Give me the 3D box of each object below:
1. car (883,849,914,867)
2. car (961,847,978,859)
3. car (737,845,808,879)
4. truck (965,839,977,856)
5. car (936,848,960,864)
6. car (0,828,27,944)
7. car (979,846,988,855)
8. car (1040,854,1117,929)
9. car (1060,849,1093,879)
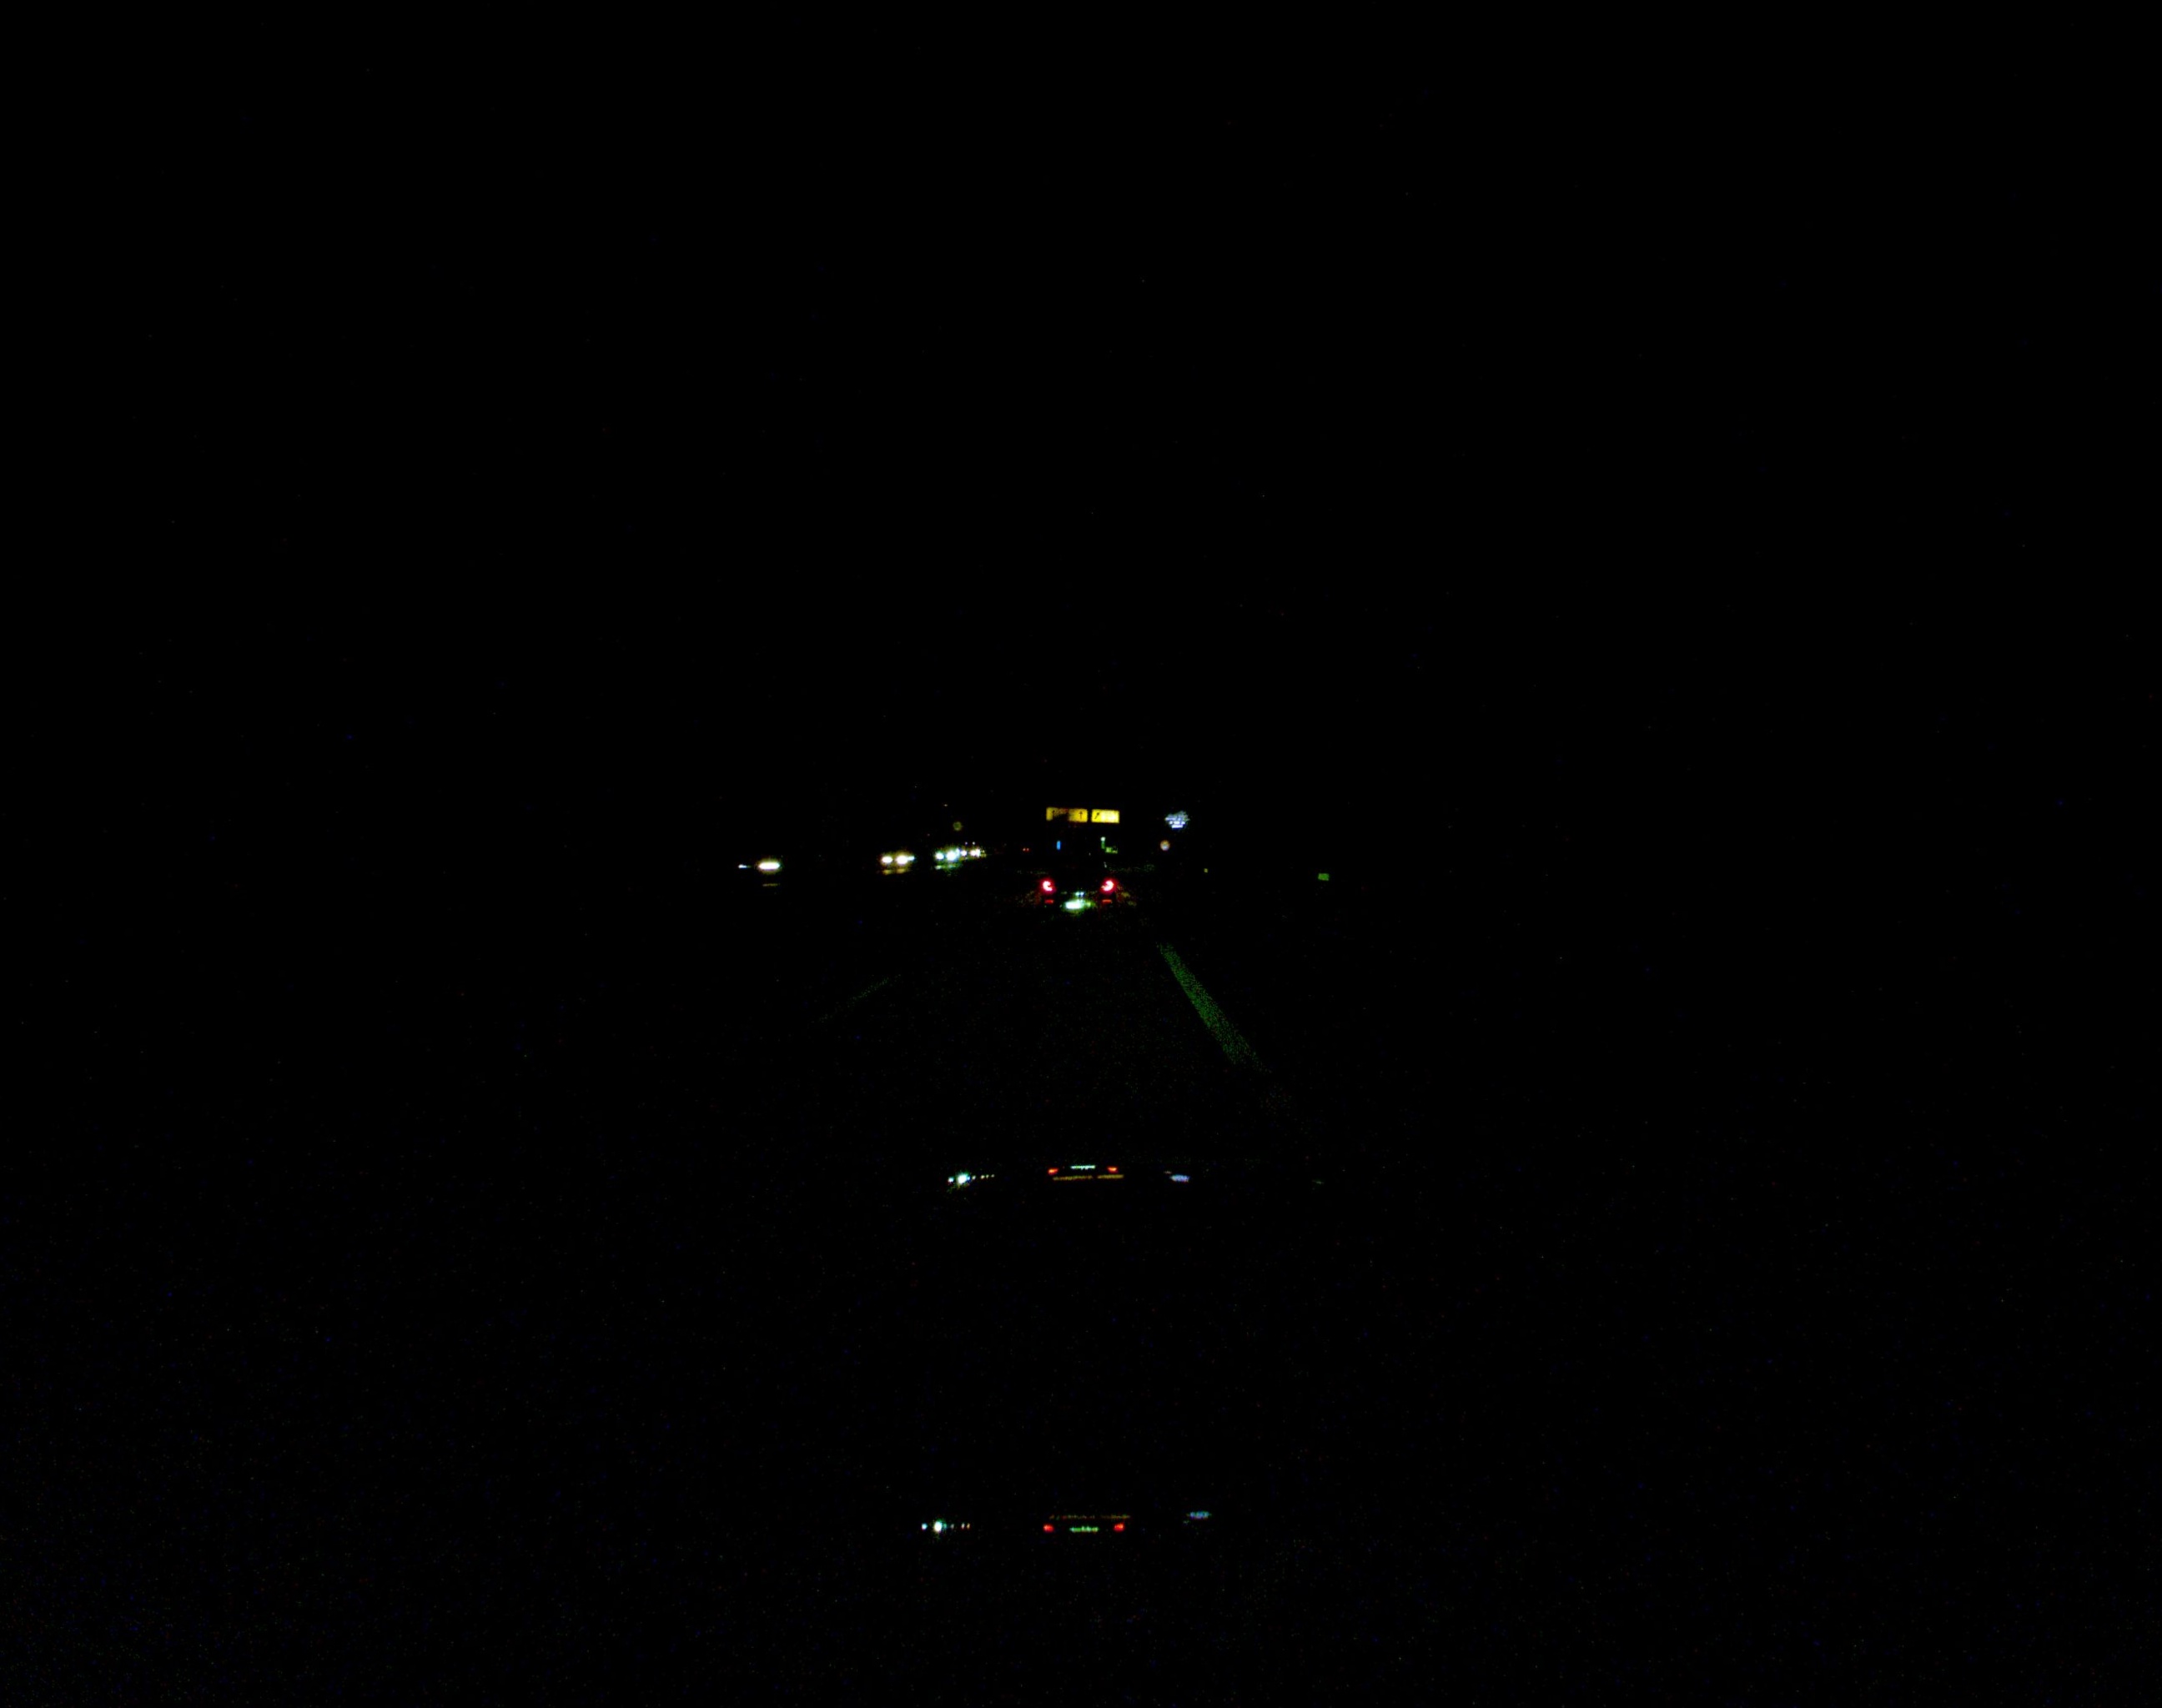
[{"bbox_3d":[-15.708,0.301,70.232,1.723,1.517,4.157,1,0,0],"label":"car"},{"bbox_3d":[-18.637,-0.223,136.046,2.357,2.013,5.026,1,0,-4],"label":"car"},{"bbox_3d":[-15.381,0.388,40.779,1.854,1.515,4.001,3,0,1],"label":"car"},{"bbox_3d":[-27.421,-1.608,202.503,2.625,4.232,8.567,3,0,-9],"label":"truck"},{"bbox_3d":[-15.403,0.227,94.798,1.961,1.763,5.031,1,0,0],"label":"car"},{"bbox_3d":[-14.659,0.399,8.357,1.950,1.457,4.339,1,0,2],"label":"car"},{"bbox_3d":[-25.490,-0.817,213.190,1.990,2.266,3.994,3,0,-4],"label":"car"},{"bbox_3d":[-0.071,0.776,18.933,1.583,1.508,3.998,-1,0,-1],"label":"car"},{"bbox_3d":[-0.261,0.578,50.348,1.900,1.698,4.000,2,1,0],"label":"car"}]
